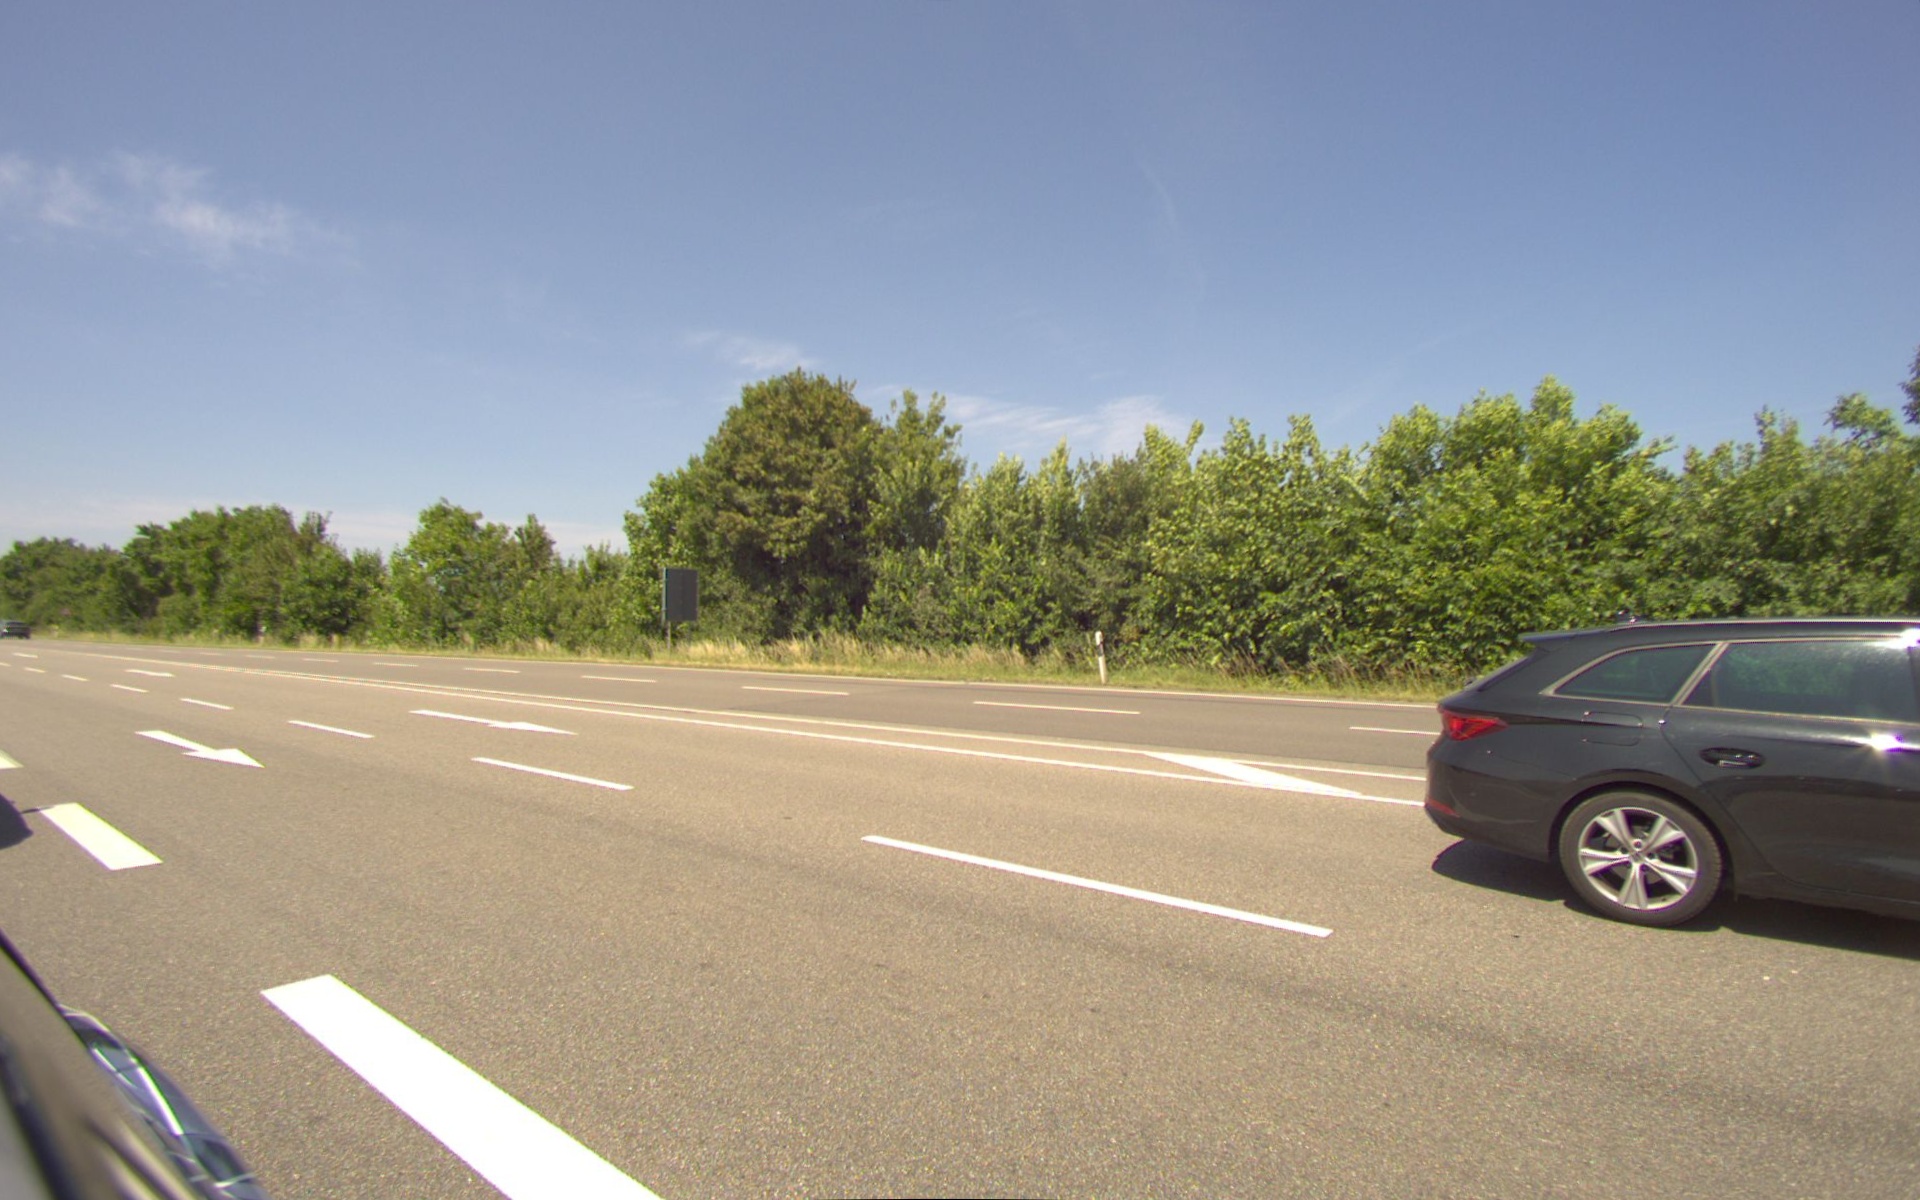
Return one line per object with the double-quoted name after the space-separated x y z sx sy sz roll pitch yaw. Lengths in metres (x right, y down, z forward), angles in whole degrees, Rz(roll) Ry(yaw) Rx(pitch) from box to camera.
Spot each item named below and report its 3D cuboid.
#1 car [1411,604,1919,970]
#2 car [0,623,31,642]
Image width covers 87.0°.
4.681 0.742 4.534 4.523 1.458 1.869 -1 -1 41 "car"
-74.839 2.570 79.617 4.526 1.409 1.860 -1 -1 39 "car"
